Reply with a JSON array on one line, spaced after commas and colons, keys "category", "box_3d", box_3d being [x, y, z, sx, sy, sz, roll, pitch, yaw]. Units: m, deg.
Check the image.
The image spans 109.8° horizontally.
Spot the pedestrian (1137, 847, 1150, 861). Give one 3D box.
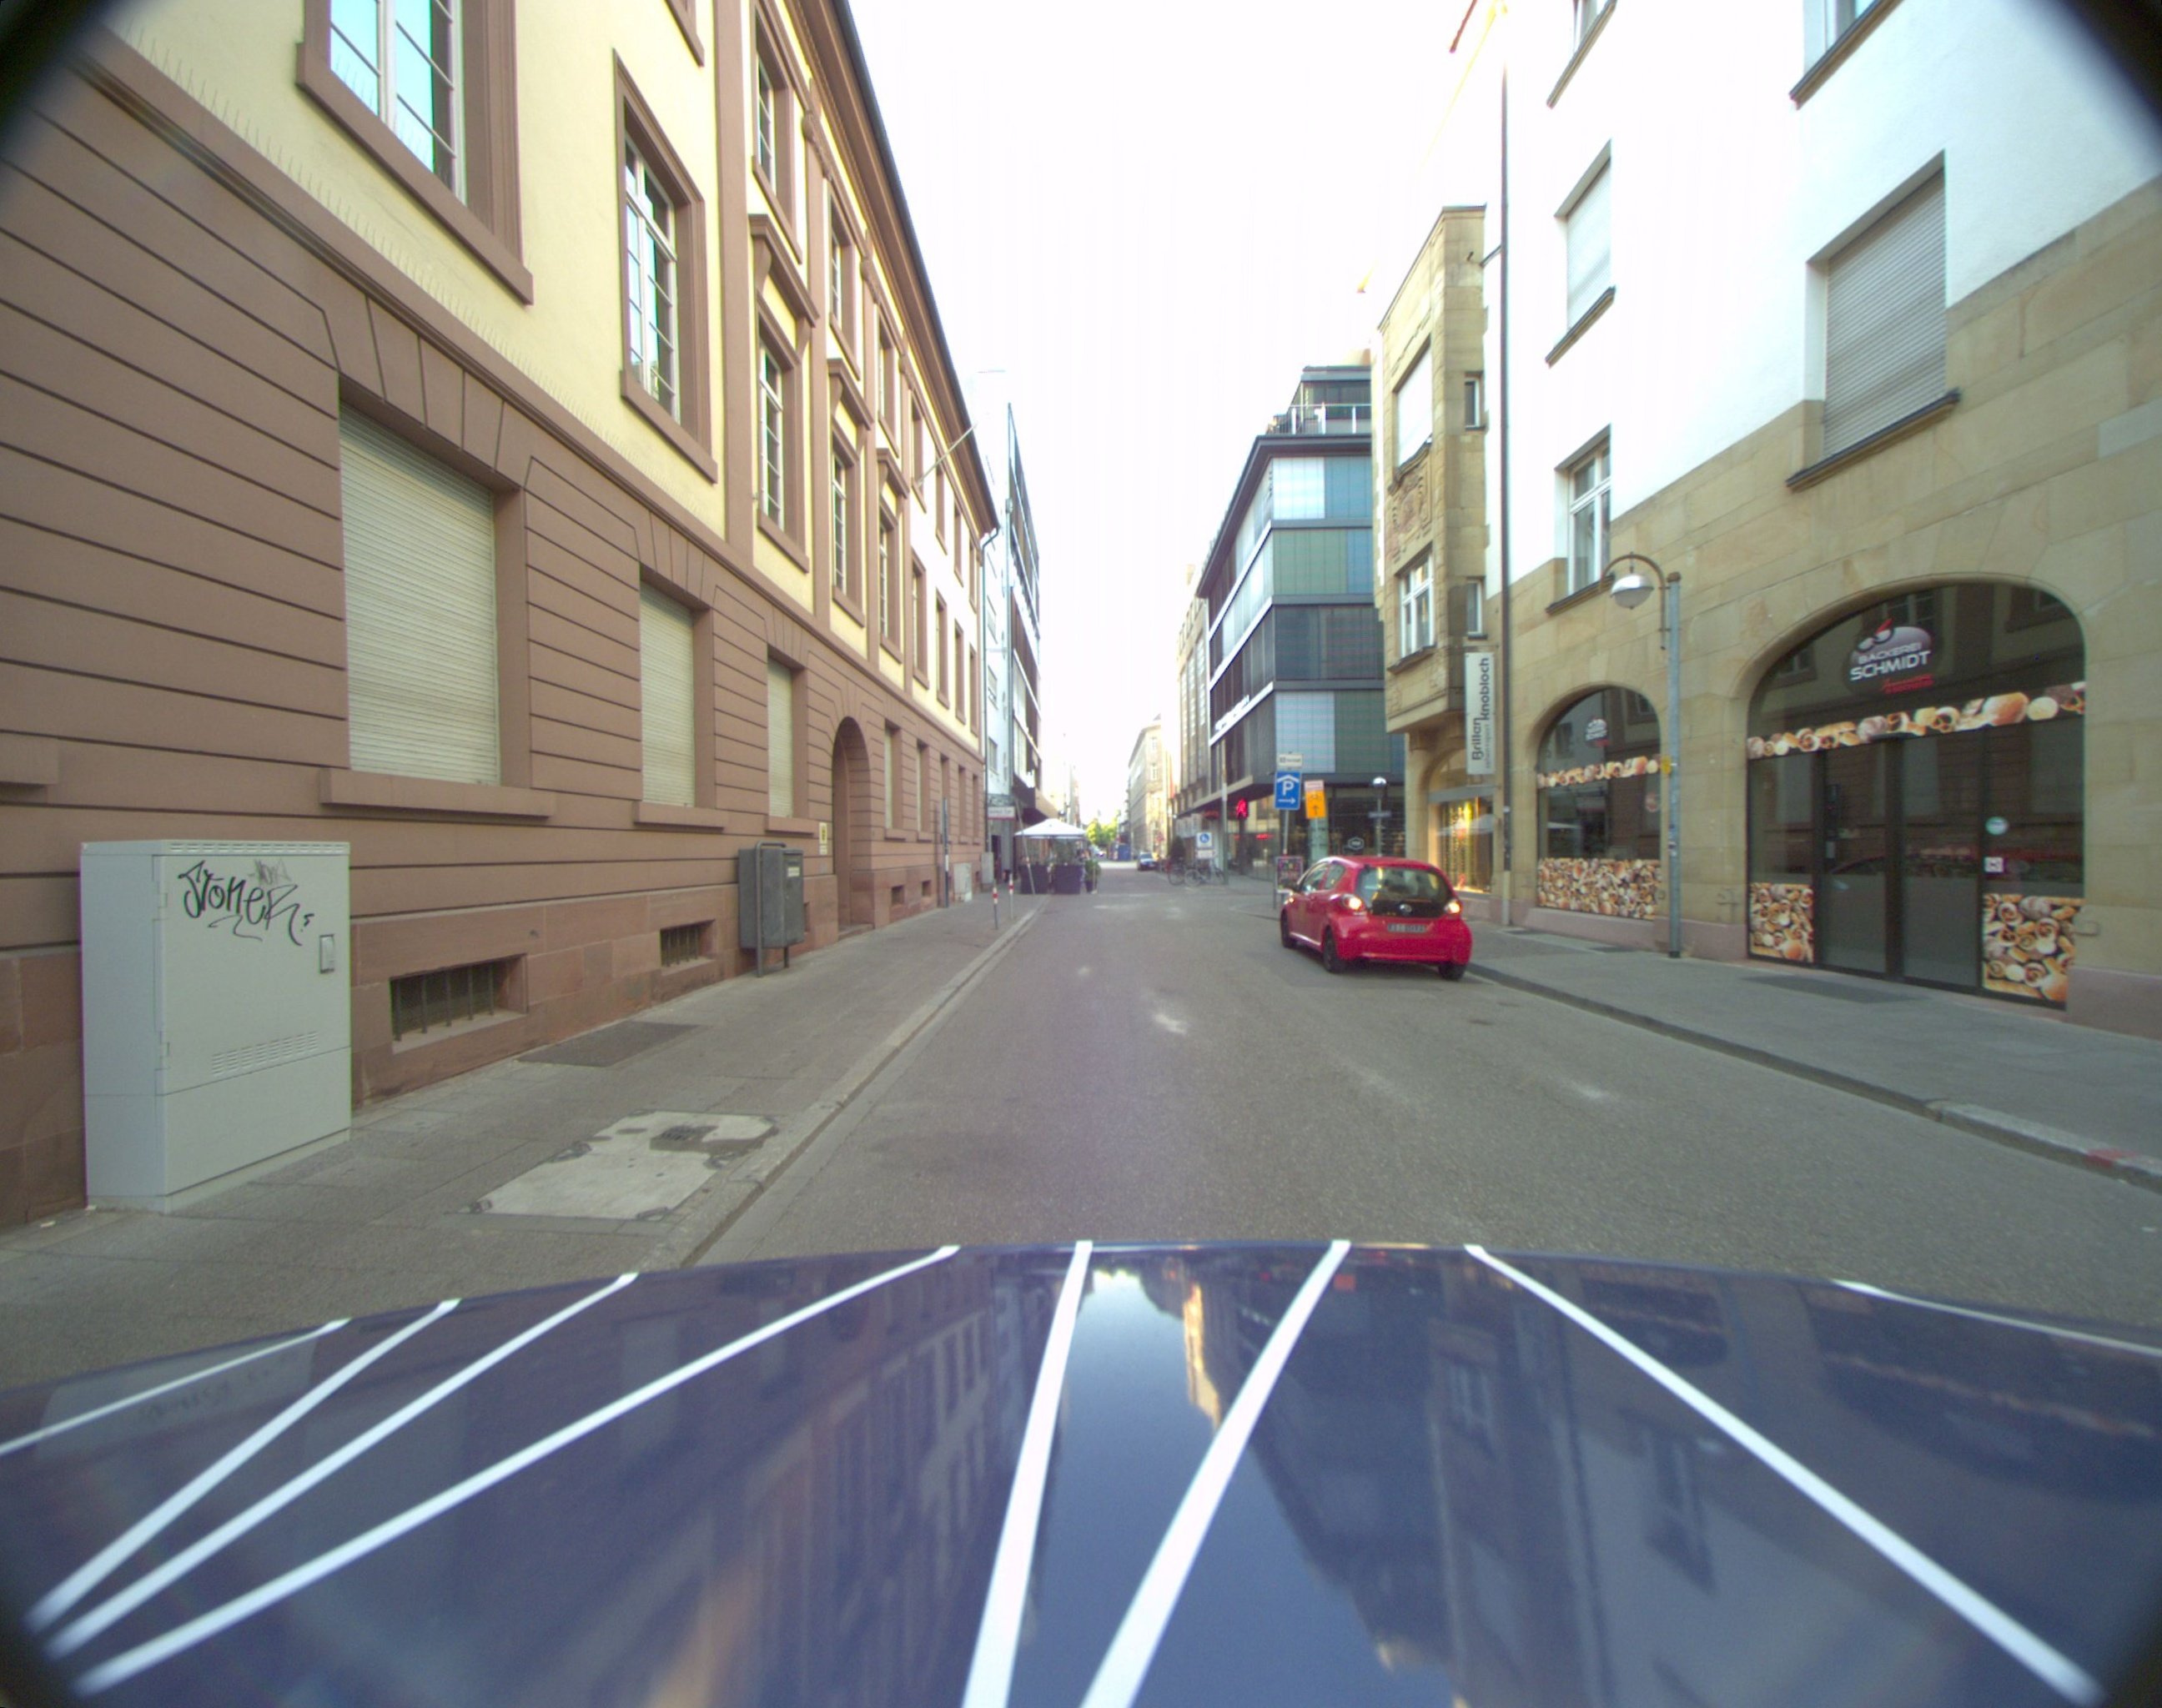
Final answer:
[{"category": "pedestrian", "box_3d": [6.713, -0.011, 82.008, 0.917, 1.563, 0.995, 0, 1, 45]}]

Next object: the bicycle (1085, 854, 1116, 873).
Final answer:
[{"category": "bicycle", "box_3d": [1.279, 0.650, 51.283, 2.038, 1.161, 0.665, 2, 1, 0]}]

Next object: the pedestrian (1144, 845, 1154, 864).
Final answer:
[{"category": "pedestrian", "box_3d": [7.100, 0.051, 79.510, 0.804, 2.002, 0.878, -1, 1, -6]}]

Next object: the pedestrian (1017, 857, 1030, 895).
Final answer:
[{"category": "pedestrian", "box_3d": [-1.990, 0.753, 26.231, 0.363, 1.298, 0.494, -1, 1, -13]}]

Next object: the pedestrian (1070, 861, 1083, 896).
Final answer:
[{"category": "pedestrian", "box_3d": [-0.155, 0.843, 26.371, 0.400, 1.206, 0.383, -1, 1, -8]}]

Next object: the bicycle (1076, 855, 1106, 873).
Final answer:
[{"category": "bicycle", "box_3d": [0.724, 0.681, 53.133, 2.038, 1.161, 0.619, 2, 1, 0]}]

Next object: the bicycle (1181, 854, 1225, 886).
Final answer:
[{"category": "bicycle", "box_3d": [4.906, 0.639, 30.636, 1.669, 1.197, 0.509, -3, 1, 1]}]

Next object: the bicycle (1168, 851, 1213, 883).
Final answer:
[{"category": "bicycle", "box_3d": [5.046, 0.599, 34.952, 1.902, 1.262, 0.538, -5, 1, 2]}]

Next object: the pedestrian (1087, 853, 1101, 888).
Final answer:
[{"category": "pedestrian", "box_3d": [0.538, 0.656, 31.402, 0.575, 1.412, 0.868, -1, 1, 2]}]

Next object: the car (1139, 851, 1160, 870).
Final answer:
[{"category": "car", "box_3d": [5.335, 0.455, 59.359, 1.602, 1.415, 3.605, -1, 0, 5]}]

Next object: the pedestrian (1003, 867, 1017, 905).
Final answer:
[{"category": "pedestrian", "box_3d": [-3.293, 1.483, 35.324, 0.640, 1.762, 0.602, -1, 1, -4]}]

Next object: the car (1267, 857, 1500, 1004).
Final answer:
[{"category": "car", "box_3d": [3.833, 0.857, 10.409, 1.661, 1.461, 3.932, 3, 1, 2]}]

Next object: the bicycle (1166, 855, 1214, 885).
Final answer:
[{"category": "bicycle", "box_3d": [4.598, 0.669, 32.163, 1.902, 1.174, 0.517, -3, -1, 0]}]
